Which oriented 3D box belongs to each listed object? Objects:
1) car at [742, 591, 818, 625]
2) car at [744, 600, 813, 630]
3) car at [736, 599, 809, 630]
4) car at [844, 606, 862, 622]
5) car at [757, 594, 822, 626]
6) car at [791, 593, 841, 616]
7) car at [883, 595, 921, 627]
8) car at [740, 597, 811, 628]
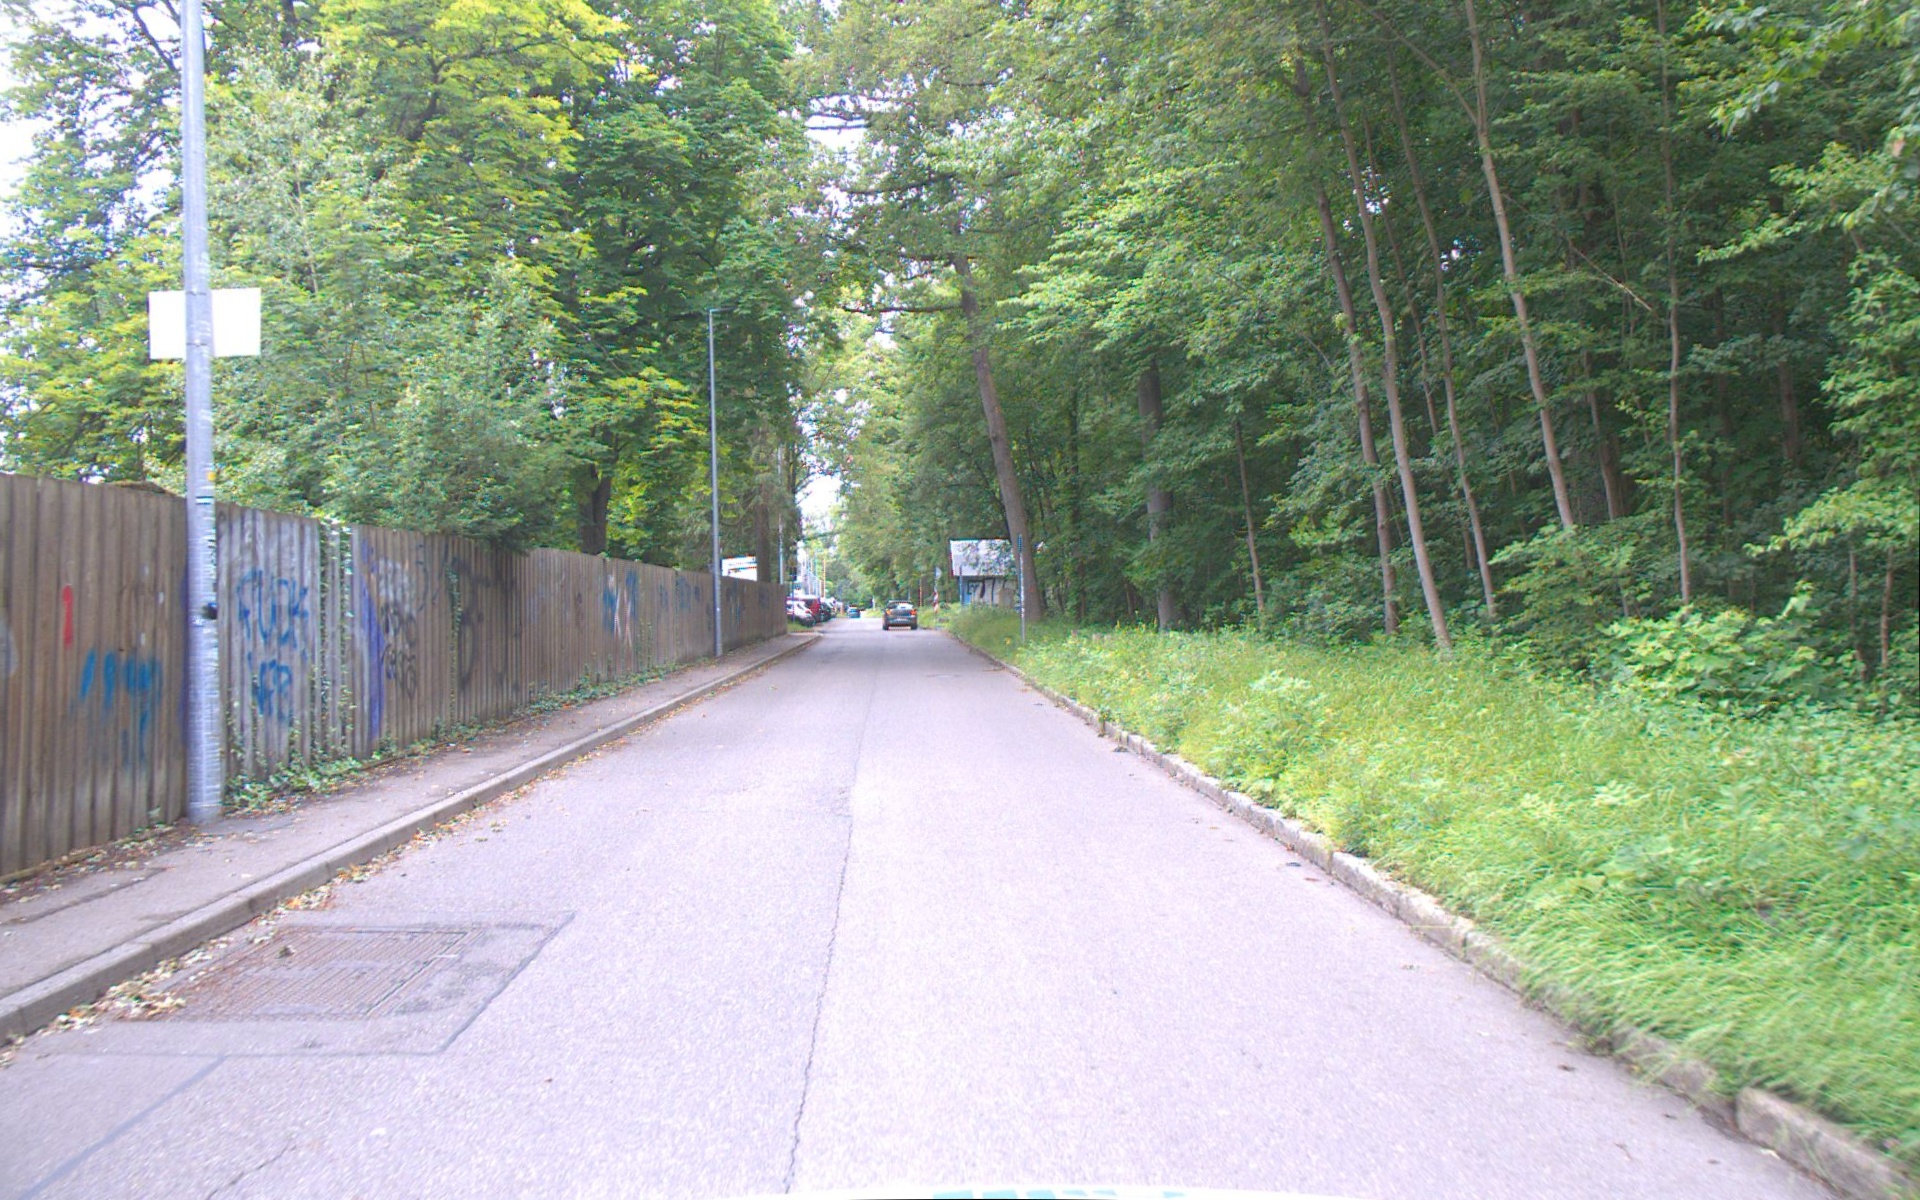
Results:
[{"bbox_3d":[-9.651,0.418,88.716,3.911,1.601,1.997,-3,0,-7],"label":"car"},{"bbox_3d":[-10.572,0.866,96.625,3.911,1.601,1.997,-2,0,-7],"label":"car"},{"bbox_3d":[-10.301,0.785,91.011,3.911,1.601,1.997,-2,0,-7],"label":"car"},{"bbox_3d":[-14.379,1.868,222.268,1.956,2.049,3.993,-2,0,-8],"label":"car"},{"bbox_3d":[-10.480,0.610,101.709,3.911,1.780,1.997,-2,0,-7],"label":"car"},{"bbox_3d":[-11.898,0.383,136.831,3.908,1.624,1.763,-3,-1,-3],"label":"car"},{"bbox_3d":[-2.904,0.573,83.154,1.869,1.534,3.999,1,-1,-2],"label":"car"},{"bbox_3d":[-10.448,0.704,93.541,3.911,1.601,1.997,-2,0,-7],"label":"car"}]
